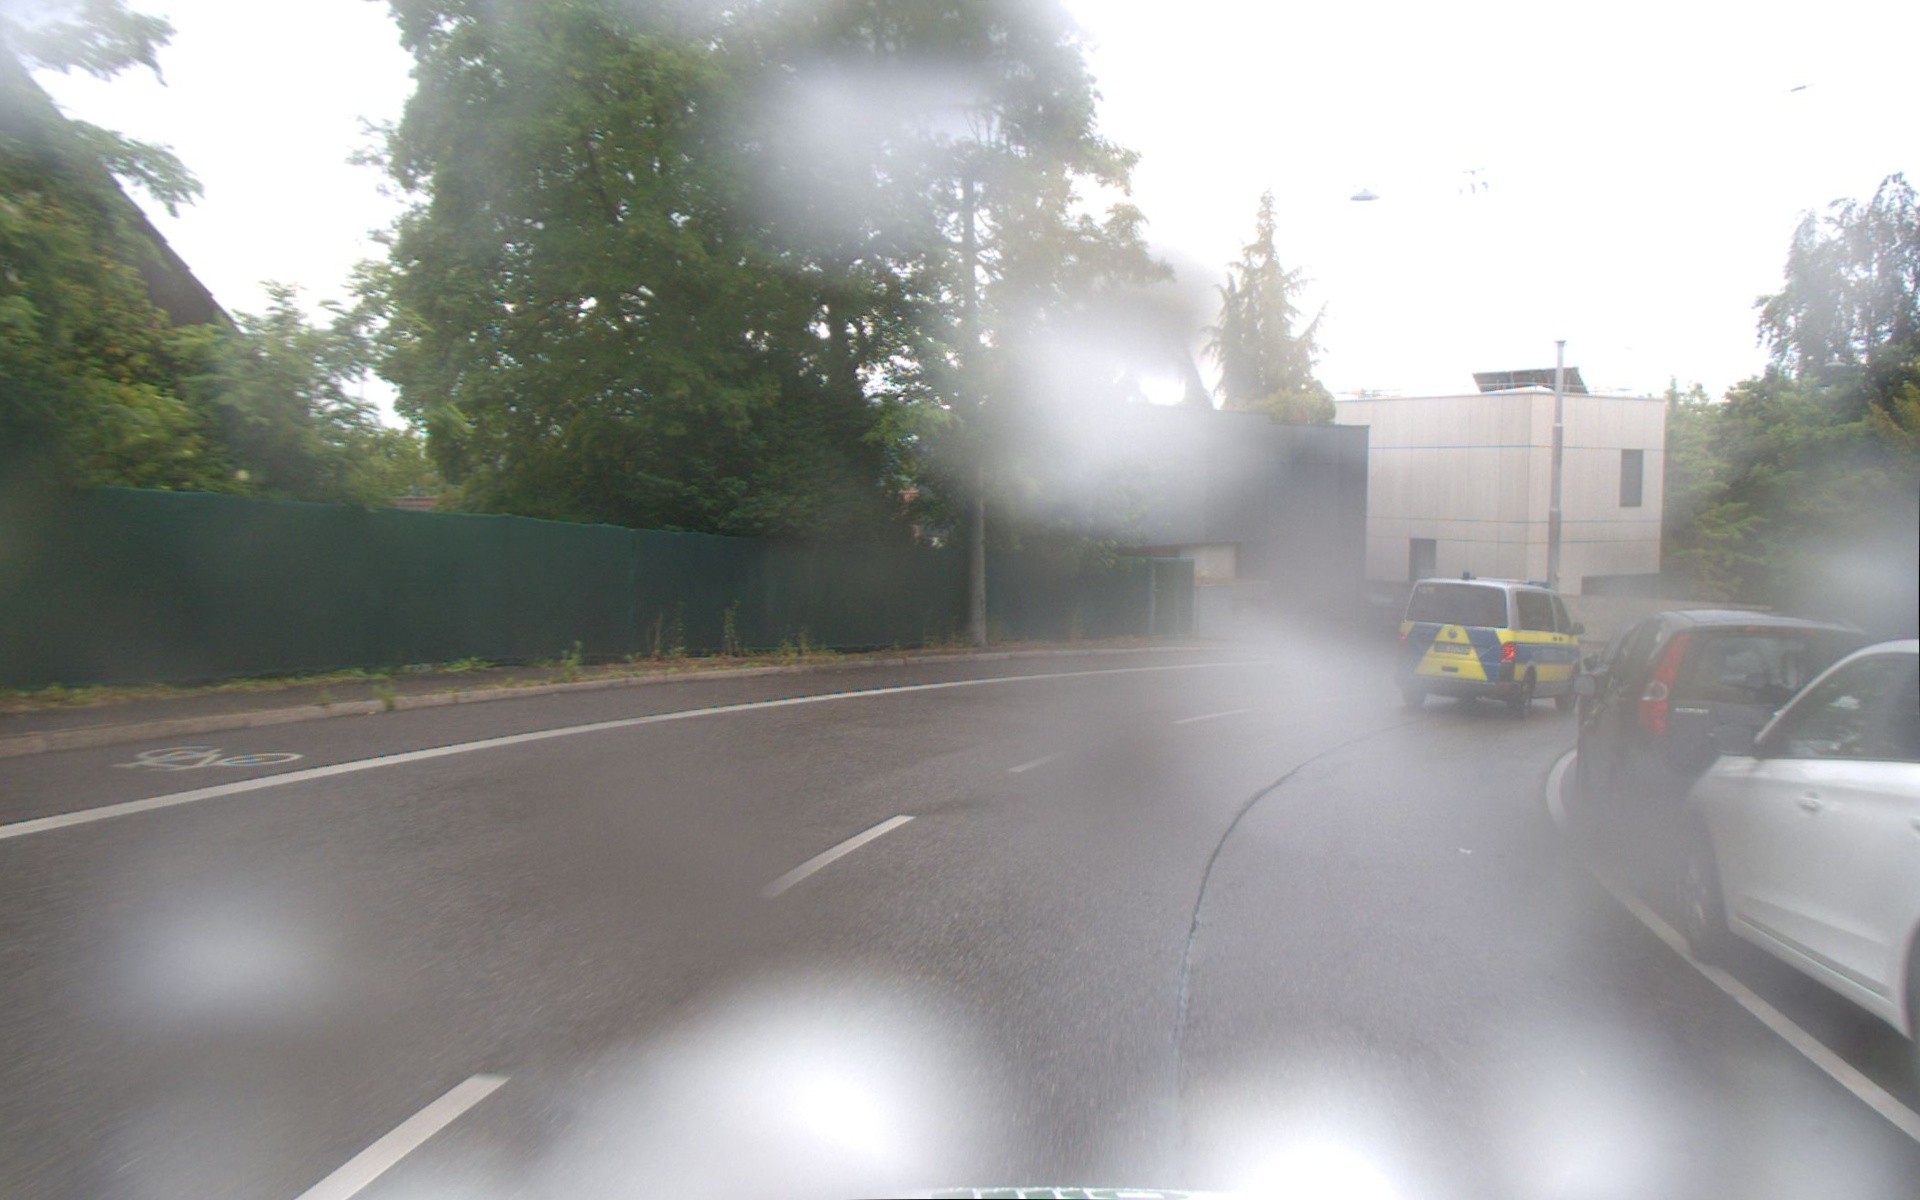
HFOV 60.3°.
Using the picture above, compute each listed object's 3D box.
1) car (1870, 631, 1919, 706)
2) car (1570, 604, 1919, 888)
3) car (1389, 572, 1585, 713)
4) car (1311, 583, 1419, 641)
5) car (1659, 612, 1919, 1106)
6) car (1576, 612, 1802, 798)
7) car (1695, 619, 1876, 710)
[{"bbox_3d":[20.840,1.417,34.301,4.519,1.460,1.762,1,0,-37],"label":"car"},{"bbox_3d":[5.005,0.802,10.876,1.585,1.531,3.607,-1,0,16],"label":"car"},{"bbox_3d":[8.336,0.665,25.881,1.957,1.926,4.561,3,0,30],"label":"car"},{"bbox_3d":[10.859,0.282,44.581,1.853,1.323,4.000,3,2,-1],"label":"car"},{"bbox_3d":[3.924,0.799,5.922,1.689,1.490,4.034,-1,0,9],"label":"car"},{"bbox_3d":[6.688,0.863,15.456,1.680,1.460,4.069,-1,0,21],"label":"car"},{"bbox_3d":[14.085,1.053,28.091,1.779,1.371,4.596,1,0,39],"label":"car"}]
